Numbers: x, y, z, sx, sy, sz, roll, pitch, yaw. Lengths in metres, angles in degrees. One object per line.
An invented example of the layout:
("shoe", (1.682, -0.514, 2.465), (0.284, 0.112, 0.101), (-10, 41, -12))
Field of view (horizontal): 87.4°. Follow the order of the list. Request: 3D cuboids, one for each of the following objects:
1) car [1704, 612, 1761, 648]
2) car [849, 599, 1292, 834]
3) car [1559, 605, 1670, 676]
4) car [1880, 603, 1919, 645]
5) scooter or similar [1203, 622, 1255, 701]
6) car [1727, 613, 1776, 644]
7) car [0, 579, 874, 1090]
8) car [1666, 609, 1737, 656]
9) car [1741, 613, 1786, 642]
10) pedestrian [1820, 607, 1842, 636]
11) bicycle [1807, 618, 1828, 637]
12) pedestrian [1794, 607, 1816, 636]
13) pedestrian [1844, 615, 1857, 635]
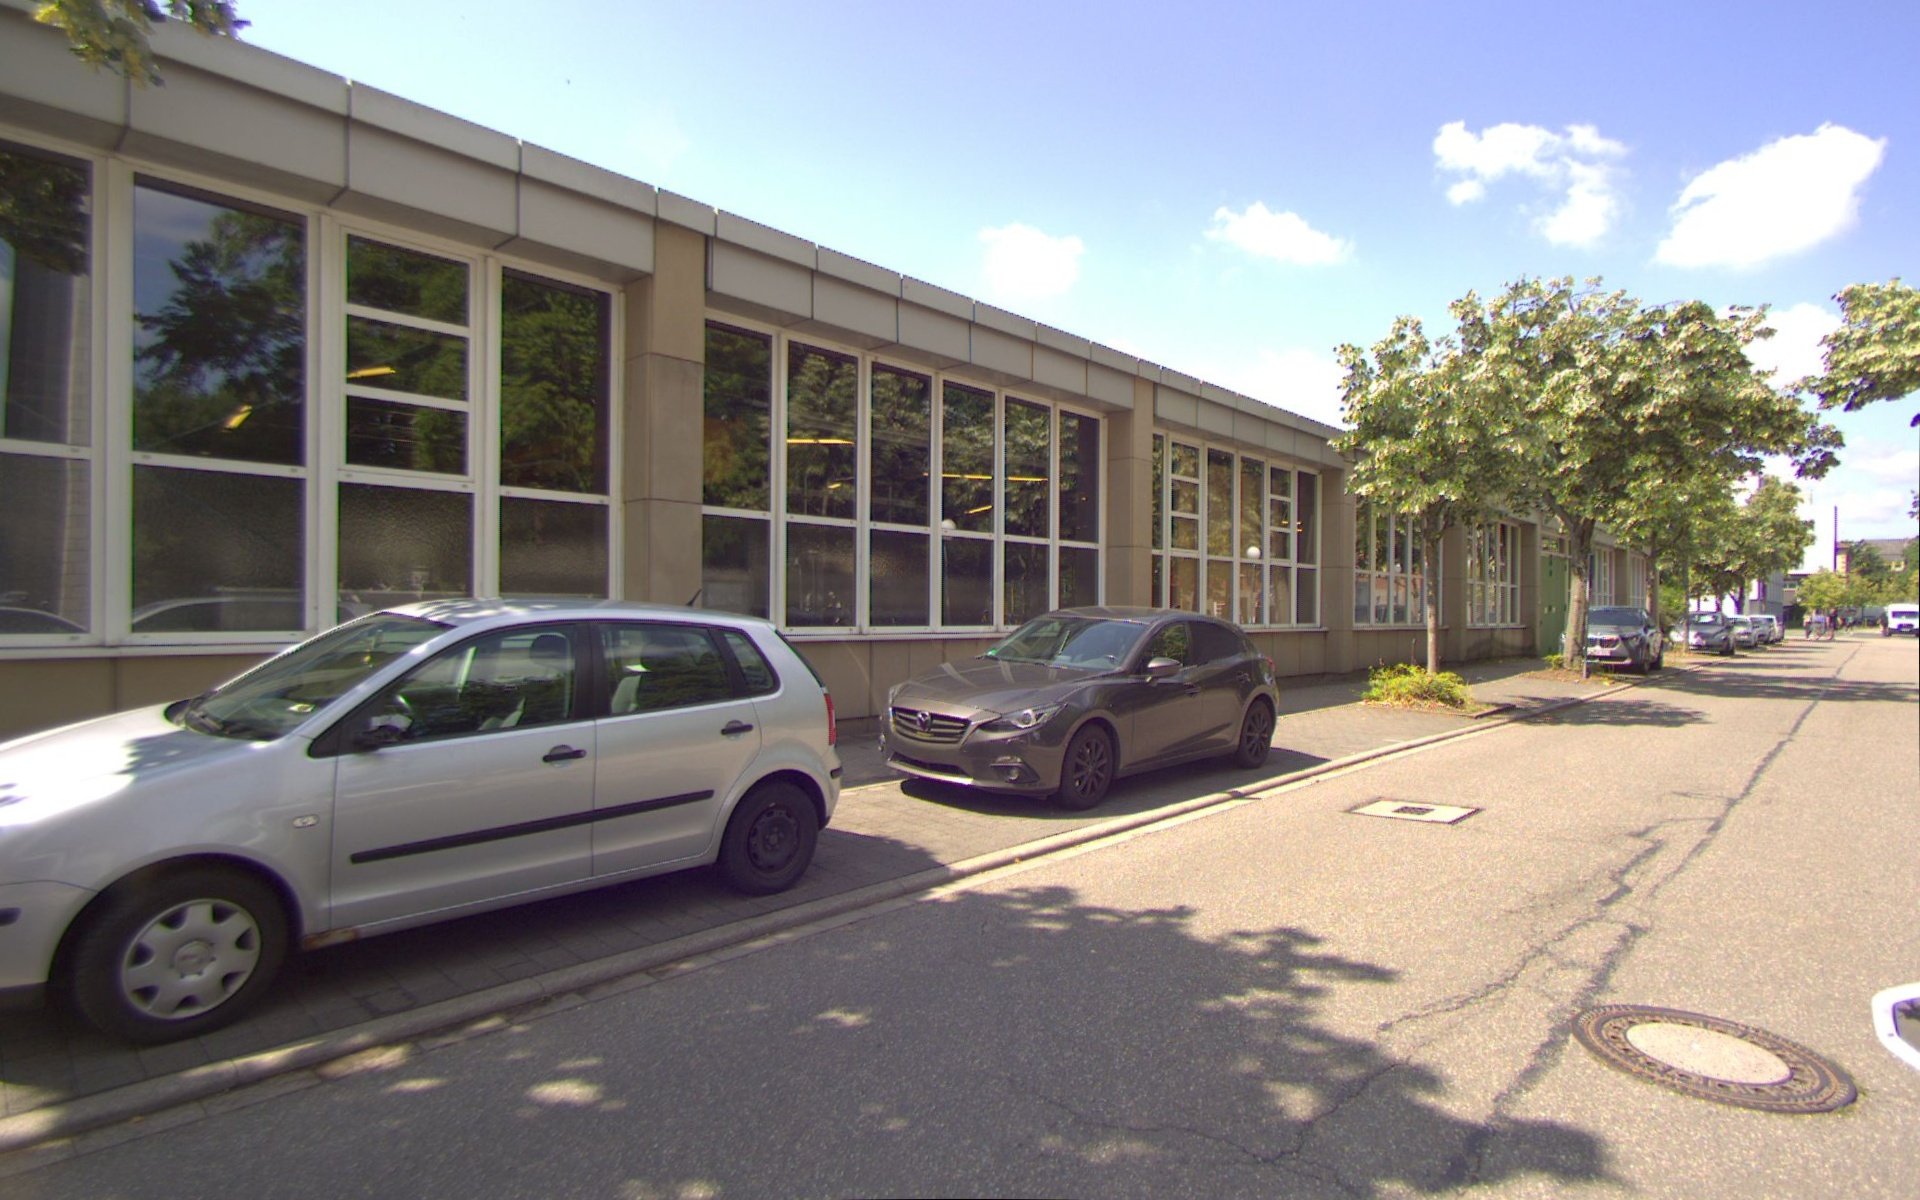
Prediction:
("car", (35.156, 1.350, 45.681), (1.811, 1.561, 4.516), (-1, -1, 41))
("car", (1.163, 0.758, 8.648), (1.630, 1.496, 4.188), (2, 1, 42))
("car", (17.006, 0.983, 26.006), (1.811, 1.639, 4.516), (2, 1, 41))
("car", (73.190, 1.868, 78.097), (2.236, 3.054, 5.709), (2, 0, 41))
("scooter or similar", (4.405, 0.987, 16.423), (1.151, 1.242, 0.286), (1, -1, -44))
("car", (41.142, 1.451, 52.165), (1.811, 1.561, 4.516), (-1, -1, 41))
("car", (-2.352, 0.701, 4.685), (1.630, 1.496, 3.758), (2, 1, 43))
("car", (27.663, 1.170, 37.419), (1.811, 1.655, 4.516), (-1, -1, 41))
("car", (45.147, 1.532, 56.377), (1.811, 1.561, 4.516), (-1, -1, 41))
("pedestrian", (54.087, 1.340, 62.379), (0.755, 1.798, 0.907), (0, 0, 20))
("bicycle", (53.465, 1.718, 62.633), (0.465, 1.098, 1.699), (0, 1, 20))
("pedestrian", (52.830, 1.315, 62.815), (0.755, 1.798, 0.907), (0, 0, 20))
("pedestrian", (81.285, 2.311, 91.699), (0.899, 1.798, 0.761), (-1, 1, -39))
